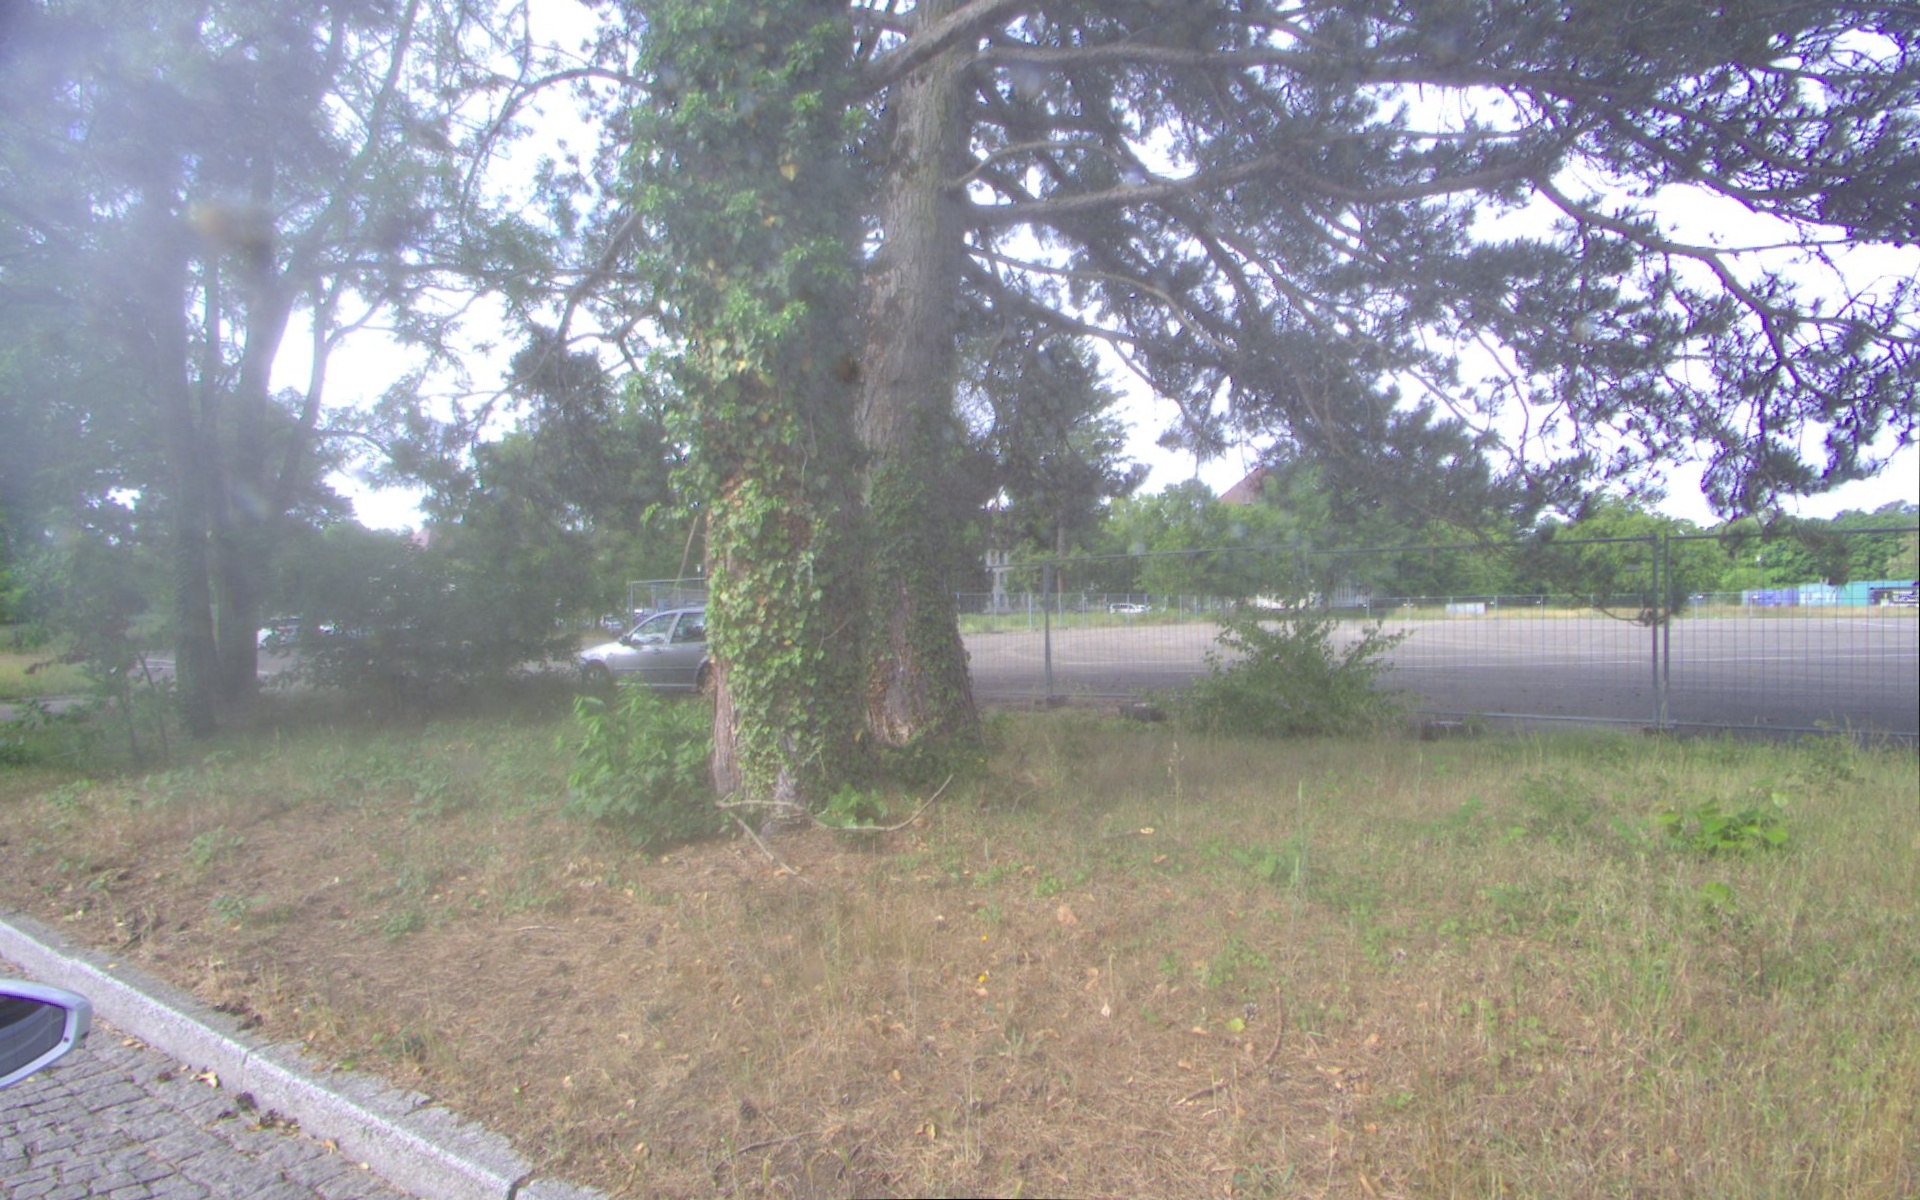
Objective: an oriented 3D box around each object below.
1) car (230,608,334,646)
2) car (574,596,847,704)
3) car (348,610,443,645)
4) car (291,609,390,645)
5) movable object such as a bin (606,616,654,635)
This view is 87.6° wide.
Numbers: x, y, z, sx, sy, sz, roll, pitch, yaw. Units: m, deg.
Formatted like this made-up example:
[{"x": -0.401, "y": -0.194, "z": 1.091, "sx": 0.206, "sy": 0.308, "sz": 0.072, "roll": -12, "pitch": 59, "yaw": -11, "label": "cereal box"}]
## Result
[{"x": -29.692, "y": 1.187, "z": 43.835, "sx": 4.359, "sy": 1.500, "sz": 1.991, "roll": -2, "pitch": -1, "yaw": 29, "label": "car"}, {"x": -3.817, "y": 0.733, "z": 15.132, "sx": 4.014, "sy": 1.444, "sz": 1.644, "roll": -1, "pitch": -3, "yaw": 31, "label": "car"}, {"x": -27.336, "y": 1.329, "z": 48.477, "sx": 4.359, "sy": 1.500, "sz": 1.991, "roll": -2, "pitch": -1, "yaw": 29, "label": "car"}, {"x": -28.507, "y": 1.255, "z": 46.062, "sx": 4.359, "sy": 1.500, "sz": 1.991, "roll": -2, "pitch": -1, "yaw": 29, "label": "car"}, {"x": -14.747, "y": 1.133, "z": 44.756, "sx": 1.928, "sy": 0.836, "sz": 1.181, "roll": -1, "pitch": 0, "yaw": 37, "label": "movable object such as a bin"}]
